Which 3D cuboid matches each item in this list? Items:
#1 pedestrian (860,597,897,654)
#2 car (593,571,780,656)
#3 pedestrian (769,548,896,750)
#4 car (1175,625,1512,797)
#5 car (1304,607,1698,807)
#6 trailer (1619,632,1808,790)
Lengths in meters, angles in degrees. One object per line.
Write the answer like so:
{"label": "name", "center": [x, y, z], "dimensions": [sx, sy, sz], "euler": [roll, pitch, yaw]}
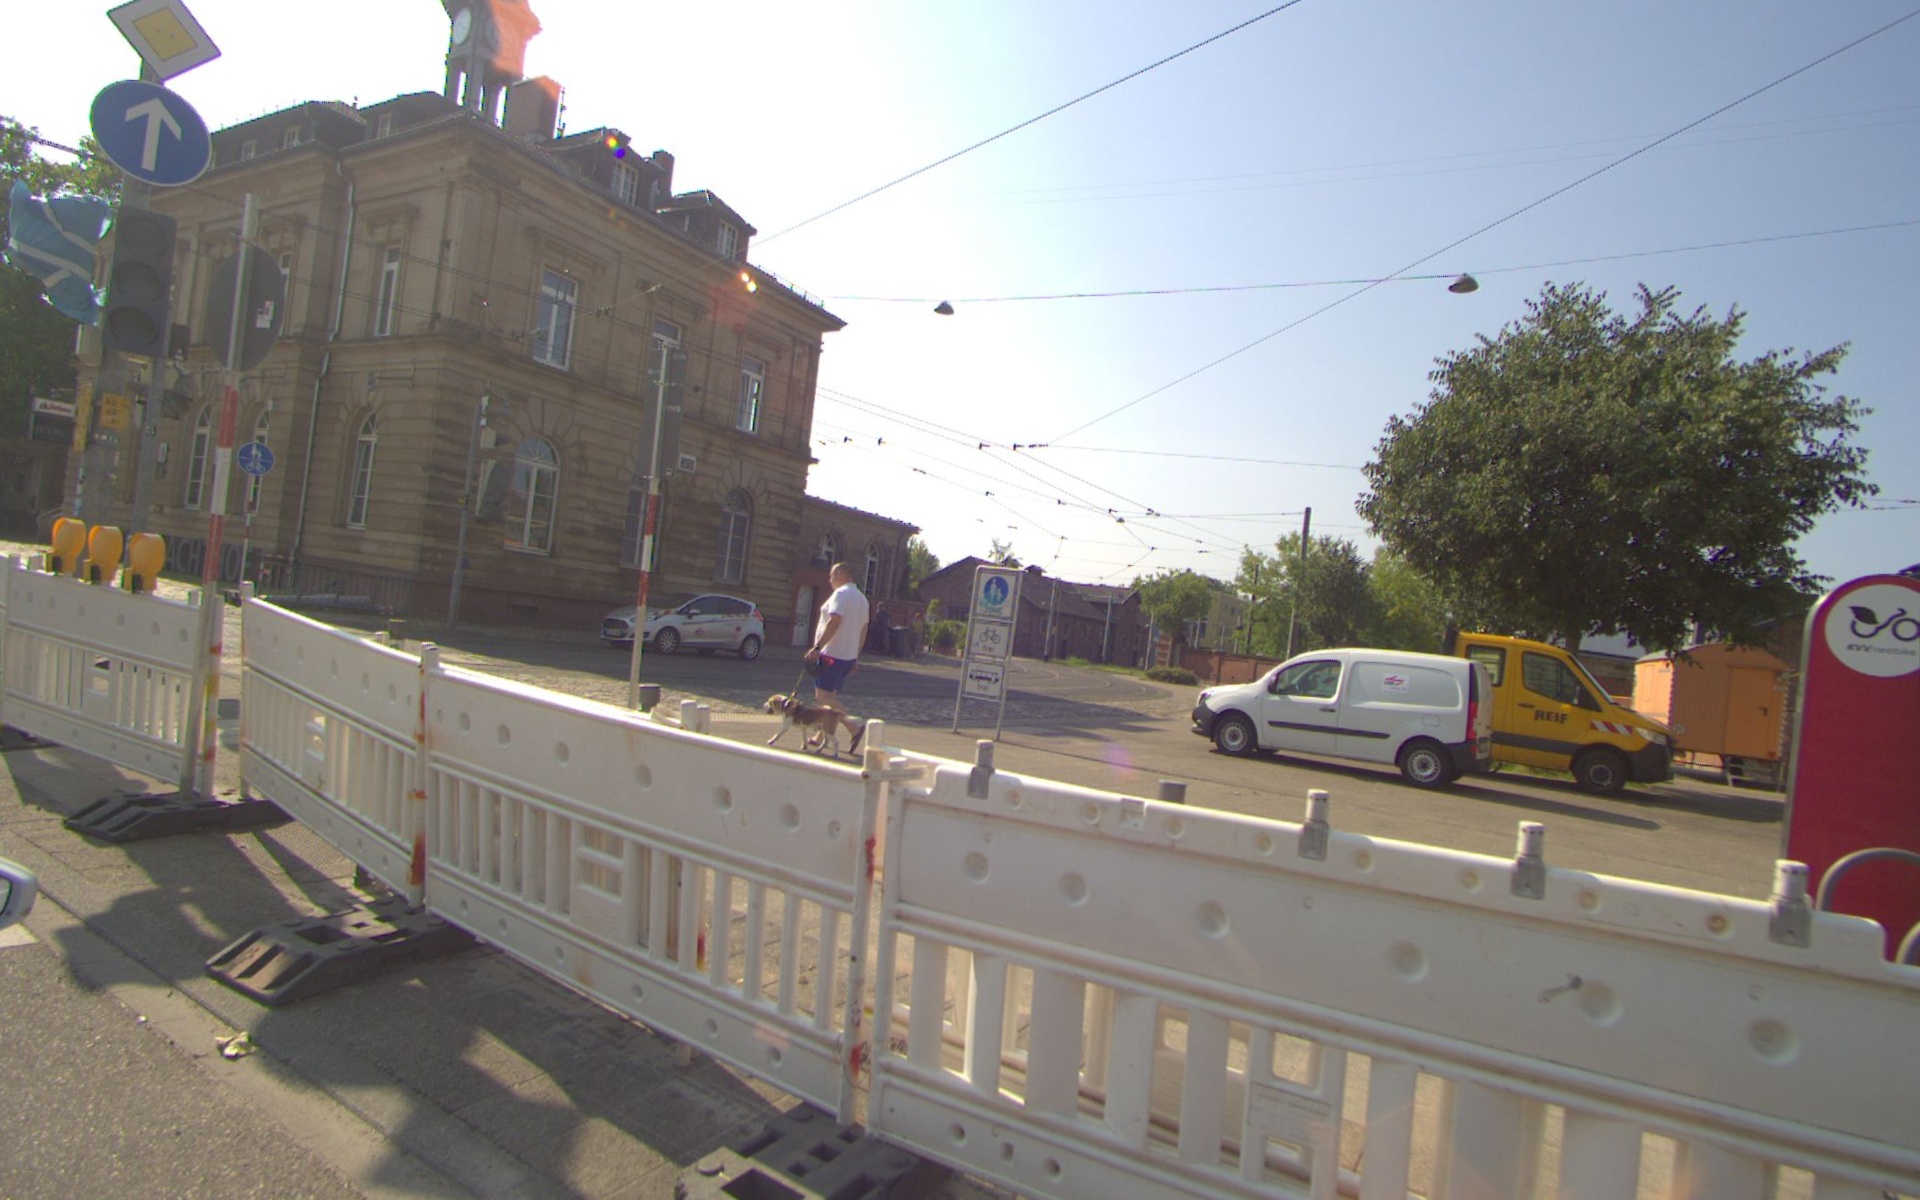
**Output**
{"label": "pedestrian", "center": [-2.860, 0.909, 35.371], "dimensions": [0.856, 1.886, 0.669], "euler": [7, 0, 36]}
{"label": "car", "center": [-6.039, 0.362, 22.659], "dimensions": [1.636, 1.555, 4.006], "euler": [6, 0, 28]}
{"label": "pedestrian", "center": [-1.185, 0.463, 9.499], "dimensions": [0.659, 1.758, 0.869], "euler": [7, 0, 22]}
{"label": "car", "center": [5.597, 1.522, 14.892], "dimensions": [4.160, 1.805, 1.903], "euler": [6, 0, 37]}
{"label": "car", "center": [8.999, 1.692, 17.258], "dimensions": [5.393, 2.452, 2.263], "euler": [6, -1, 28]}
{"label": "trailer", "center": [17.418, 2.488, 23.554], "dimensions": [2.469, 3.085, 4.118], "euler": [6, -1, 25]}
